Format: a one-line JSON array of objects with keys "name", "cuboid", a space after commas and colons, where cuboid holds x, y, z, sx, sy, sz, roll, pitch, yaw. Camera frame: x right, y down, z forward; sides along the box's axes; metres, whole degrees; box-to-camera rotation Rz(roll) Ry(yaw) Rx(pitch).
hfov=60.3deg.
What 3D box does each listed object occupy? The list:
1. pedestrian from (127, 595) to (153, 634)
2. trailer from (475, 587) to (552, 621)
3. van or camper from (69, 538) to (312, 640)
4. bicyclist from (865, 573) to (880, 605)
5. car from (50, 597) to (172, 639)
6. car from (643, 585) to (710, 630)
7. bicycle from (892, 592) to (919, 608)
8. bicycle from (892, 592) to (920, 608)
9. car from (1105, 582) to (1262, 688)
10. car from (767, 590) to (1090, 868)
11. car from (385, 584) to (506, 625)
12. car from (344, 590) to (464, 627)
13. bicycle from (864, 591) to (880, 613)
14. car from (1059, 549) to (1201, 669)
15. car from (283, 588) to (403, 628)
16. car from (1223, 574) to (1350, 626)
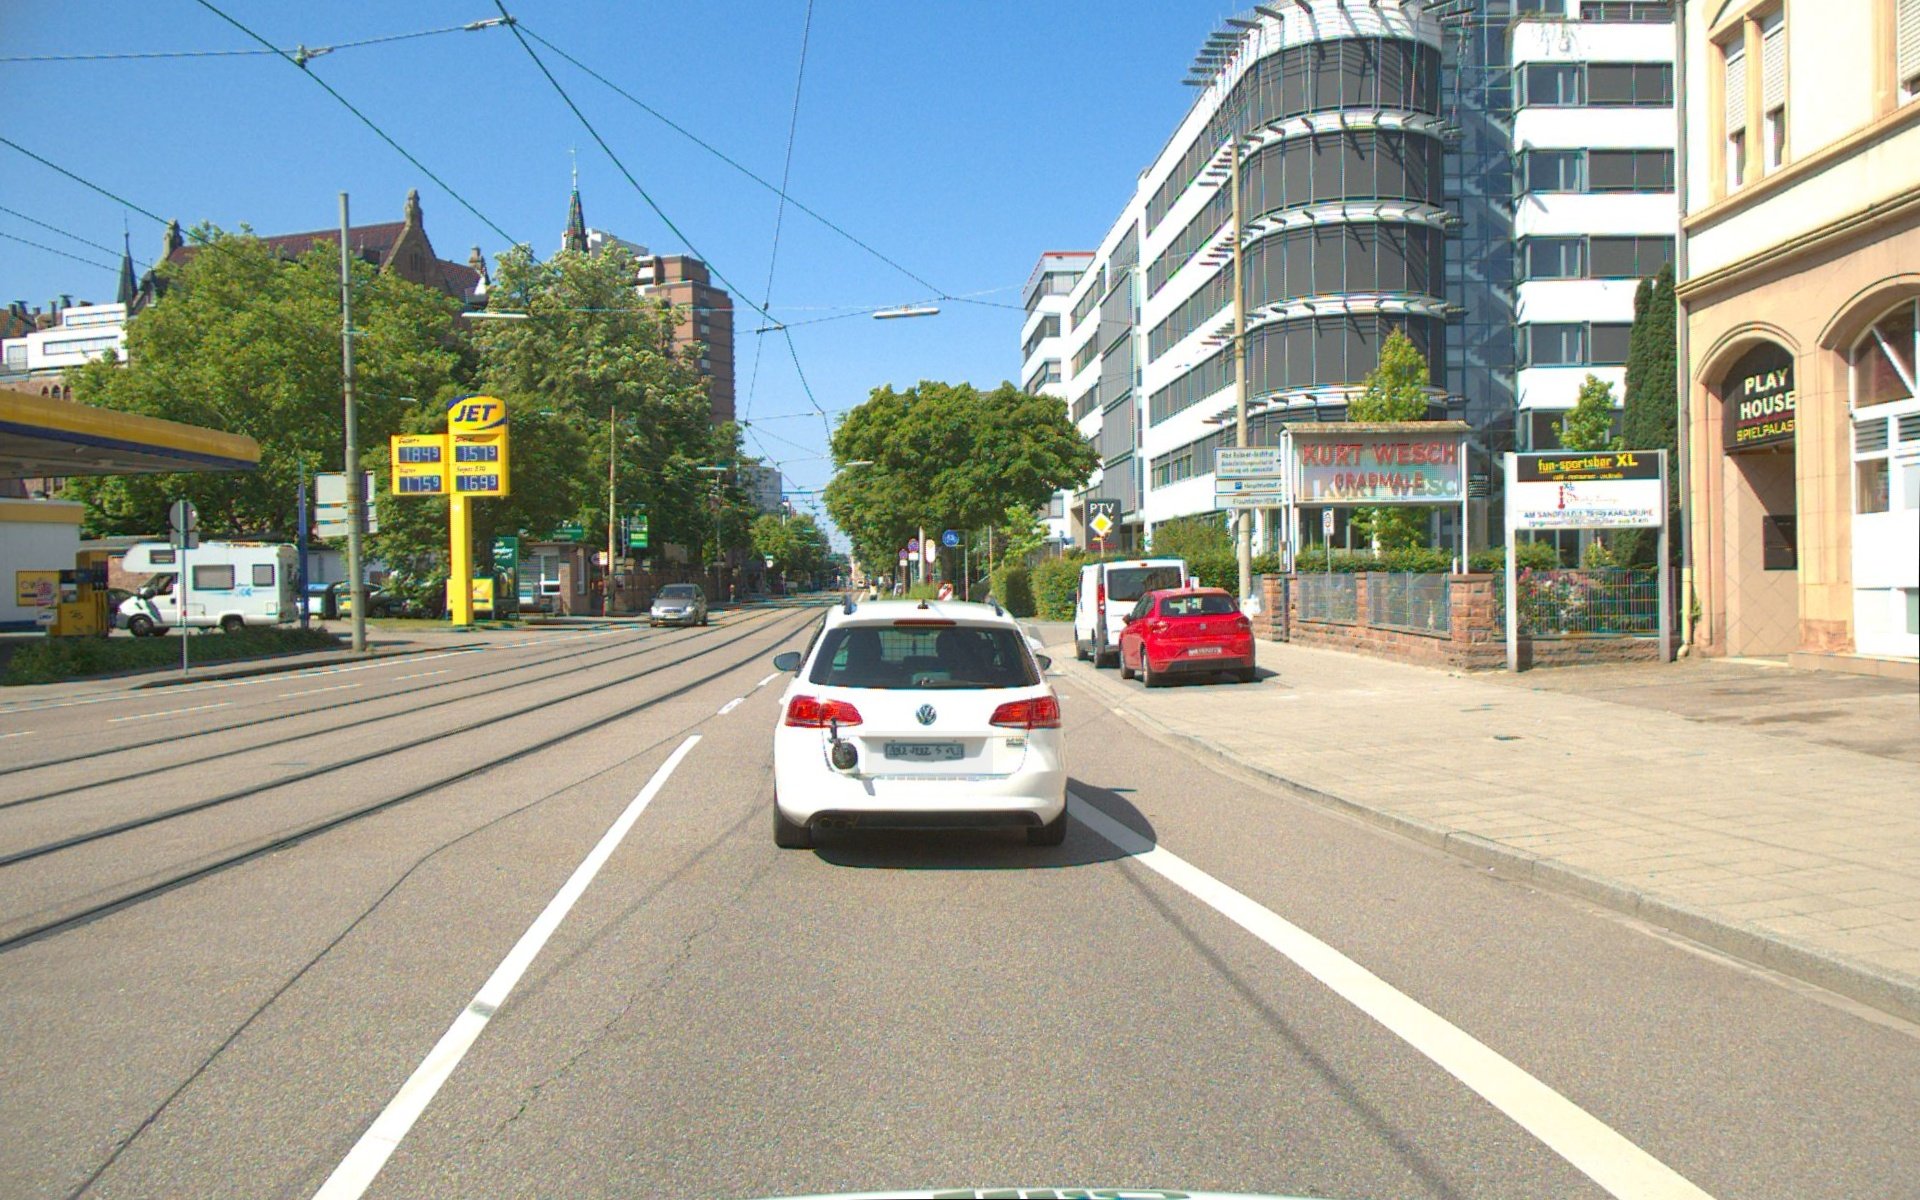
[{"name": "pedestrian", "cuboid": [-32.052, 0.557, 64.662, 0.662, 1.494, 0.640, -1, 0, 5]}, {"name": "trailer", "cuboid": [-20.996, 0.172, 77.877, 3.151, 1.552, 1.777, -1, 0, -2]}, {"name": "van or camper", "cuboid": [-24.803, -0.335, 53.583, 6.568, 3.019, 2.611, 2, 0, -9]}, {"name": "bicyclist", "cuboid": [-4.615, -0.562, 87.389, 0.770, 1.658, 0.738, 2, -1, -3]}, {"name": "car", "cuboid": [-32.241, 0.692, 62.817, 4.073, 1.554, 1.937, -1, 0, 22]}, {"name": "car", "cuboid": [-10.728, 0.286, 62.836, 1.710, 1.598, 3.892, -2, 0, 2]}, {"name": "bicycle", "cuboid": [-3.886, -0.025, 117.391, 1.874, 1.102, 0.550, 1, 0, -6]}, {"name": "bicycle", "cuboid": [-3.812, -0.016, 116.796, 1.874, 1.102, 0.550, 1, 0, -6]}, {"name": "car", "cuboid": [3.476, 0.504, 26.432, 1.687, 1.468, 4.310, -3, 0, -3]}, {"name": "car", "cuboid": [-0.266, 0.678, 11.010, 1.719, 1.467, 4.410, 0, 0, -3]}, {"name": "car", "cuboid": [-21.652, 0.169, 69.716, 1.914, 1.653, 4.553, -1, 0, 41]}, {"name": "car", "cuboid": [-23.821, 0.361, 70.973, 1.914, 1.493, 4.553, -1, 1, 41]}, {"name": "bicycle", "cuboid": [-4.645, 0.091, 87.161, 0.794, 1.097, 2.011, -1, 0, -3]}, {"name": "car", "cuboid": [3.254, 0.148, 32.707, 1.937, 2.090, 5.188, -3, 0, -3]}, {"name": "car", "cuboid": [-26.741, 0.324, 71.797, 1.914, 1.611, 4.552, -1, 1, 41]}, {"name": "car", "cuboid": [9.929, -0.015, 50.489, 3.521, 1.498, 1.591, -1, 0, -3]}]
